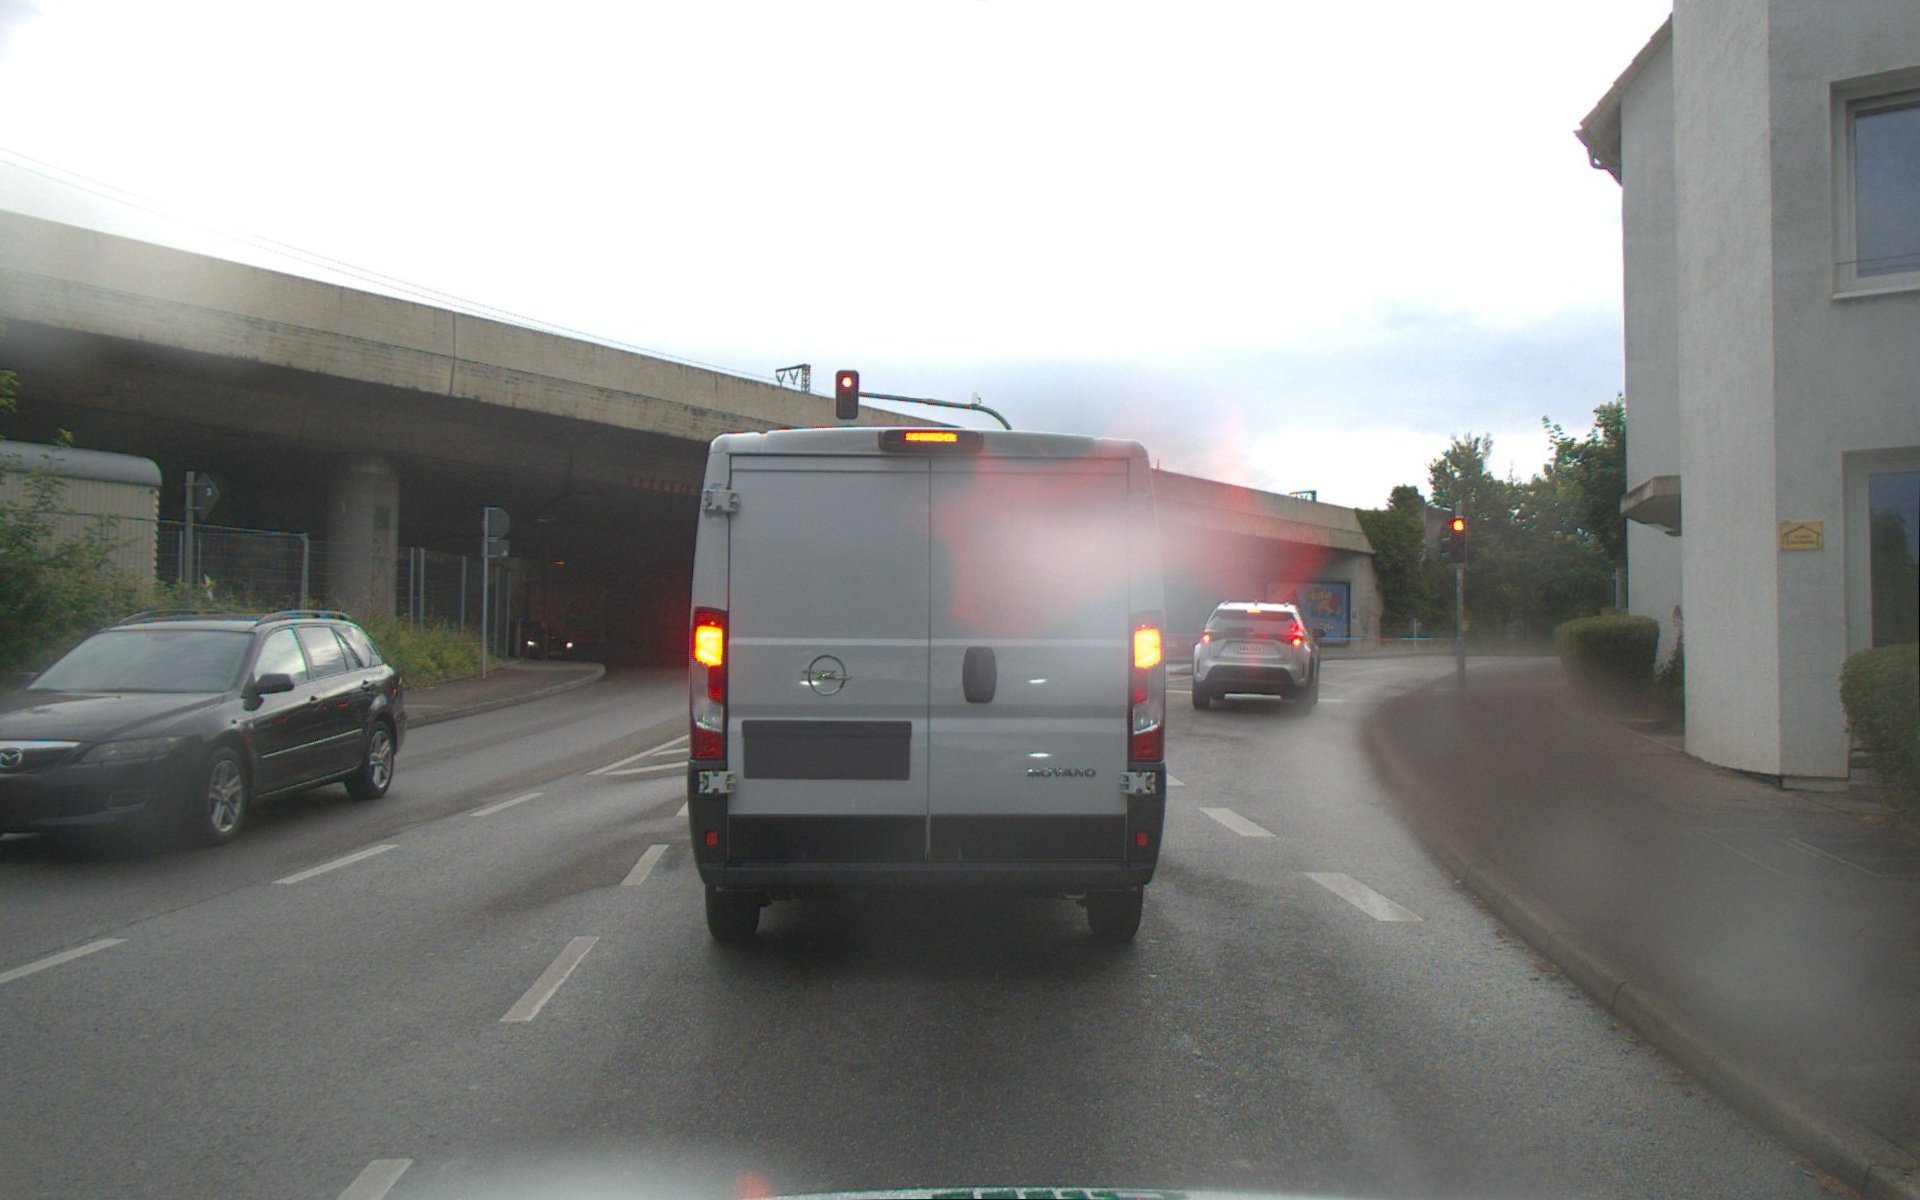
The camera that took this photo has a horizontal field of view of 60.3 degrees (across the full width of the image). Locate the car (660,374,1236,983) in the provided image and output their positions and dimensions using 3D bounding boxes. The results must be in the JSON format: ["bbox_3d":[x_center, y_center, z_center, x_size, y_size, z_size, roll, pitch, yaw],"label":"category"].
[{"bbox_3d":[0.011,0.302,9.189,2.257,2.384,5.283,1,0,1],"label":"car"}]

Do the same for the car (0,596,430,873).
[{"bbox_3d":[-5.435,0.793,11.779,1.804,1.597,4.413,0,0,1],"label":"car"}]

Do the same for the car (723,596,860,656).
[{"bbox_3d":[-4.620,0.722,44.942,1.979,1.545,3.946,2,-2,-37],"label":"car"}]

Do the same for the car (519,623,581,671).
[{"bbox_3d":[-14.999,1.673,60.377,1.885,1.655,4.411,0,0,-18],"label":"car"}]

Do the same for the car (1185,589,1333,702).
[{"bbox_3d":[4.661,0.691,25.359,1.951,1.576,4.003,0,-2,14],"label":"car"}]

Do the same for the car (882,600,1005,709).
[{"bbox_3d":[-0.207,0.933,28.778,1.952,1.759,4.000,0,-2,2],"label":"car"}]
